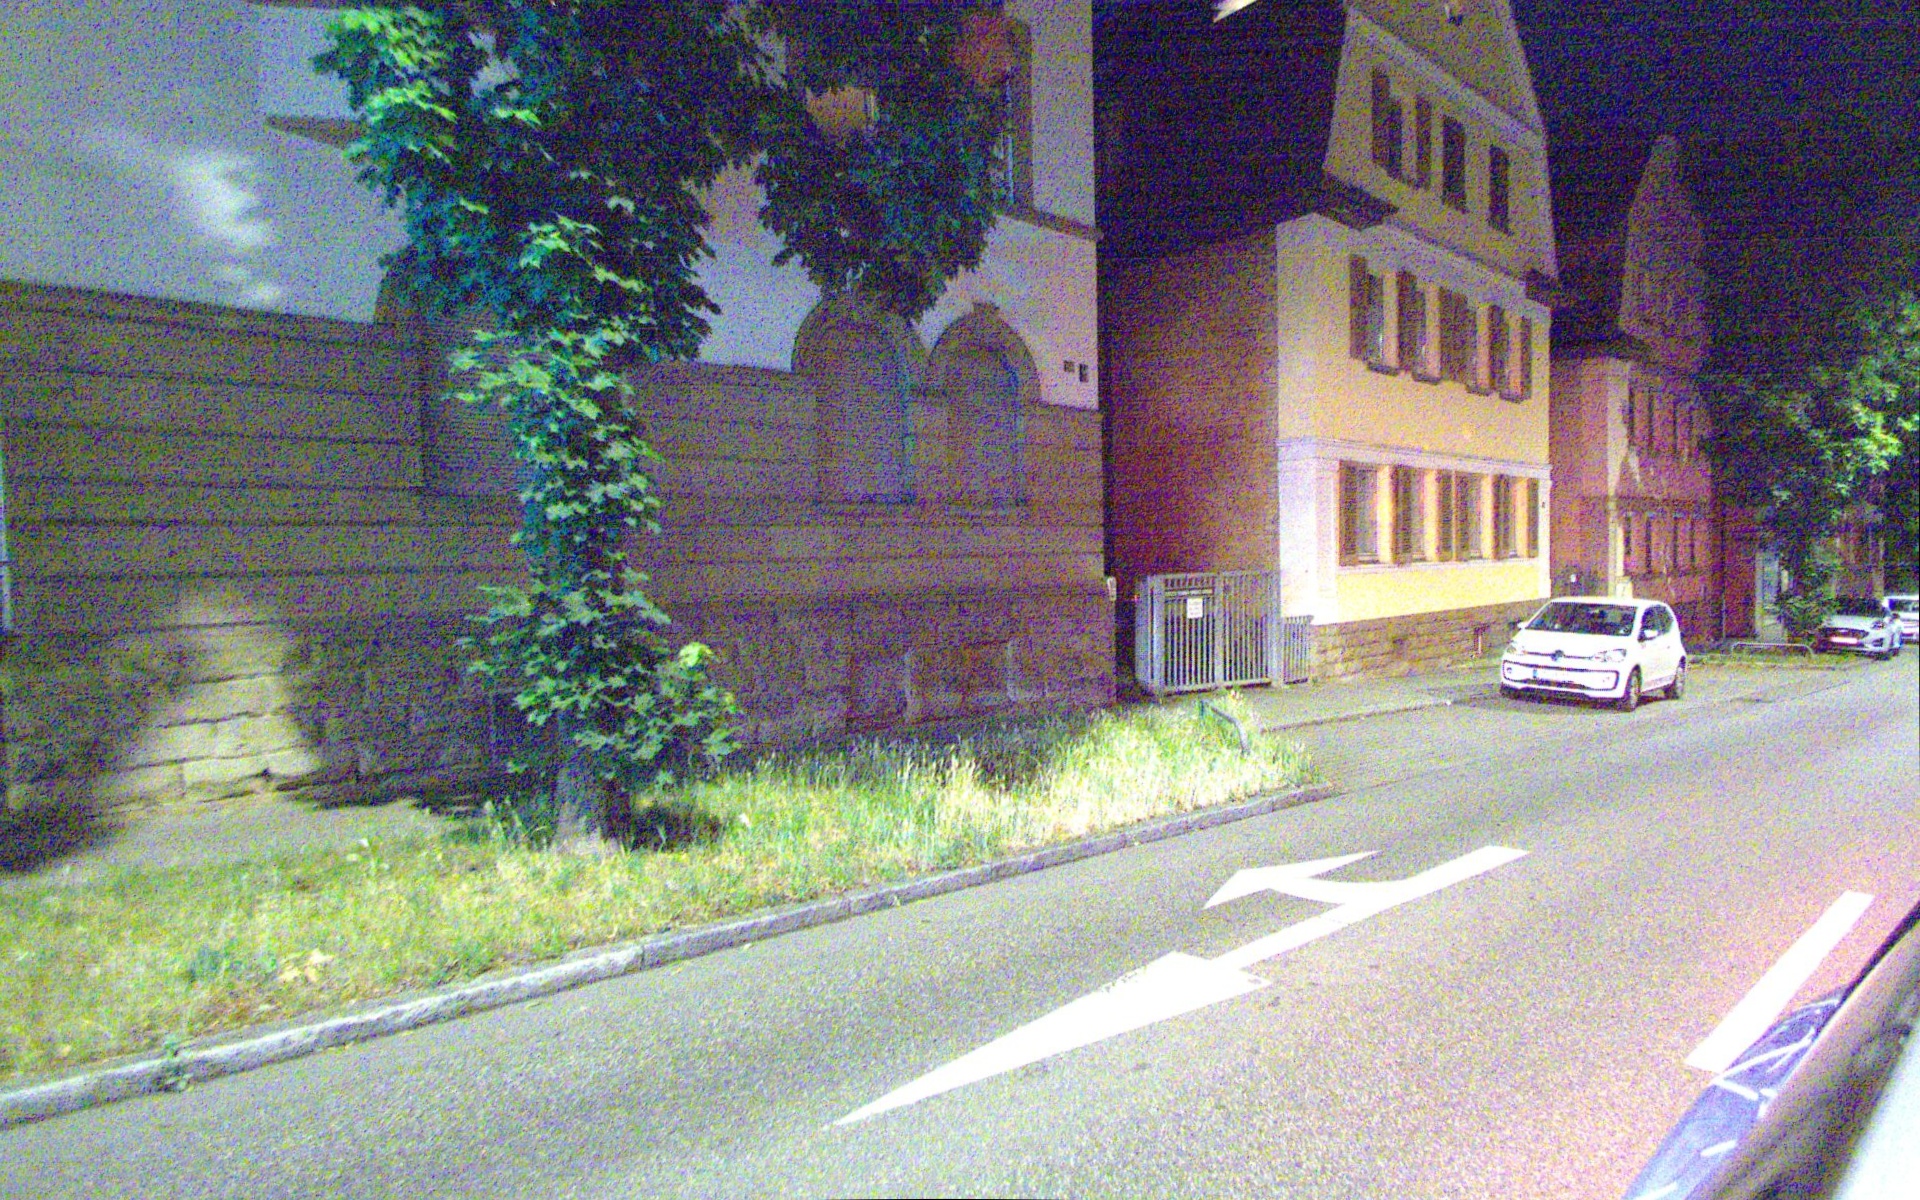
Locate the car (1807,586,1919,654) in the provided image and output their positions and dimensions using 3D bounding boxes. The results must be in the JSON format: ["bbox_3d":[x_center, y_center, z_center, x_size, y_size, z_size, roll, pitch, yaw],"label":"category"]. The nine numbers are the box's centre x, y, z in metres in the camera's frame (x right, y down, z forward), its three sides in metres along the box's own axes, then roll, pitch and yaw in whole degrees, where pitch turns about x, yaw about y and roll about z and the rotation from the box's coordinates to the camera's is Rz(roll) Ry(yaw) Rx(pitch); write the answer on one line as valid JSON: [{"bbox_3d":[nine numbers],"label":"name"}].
[{"bbox_3d":[23.804,0.472,26.578,3.977,1.572,1.862,0,3,-43],"label":"car"}]

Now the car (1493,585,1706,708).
[{"bbox_3d":[9.321,0.578,14.657,3.541,1.503,1.671,0,2,-42],"label":"car"}]

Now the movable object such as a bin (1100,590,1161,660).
[{"bbox_3d":[2.666,0.374,15.836,0.742,1.062,0.608,0,0,-41],"label":"movable object such as a bin"}]

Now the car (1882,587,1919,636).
[{"bbox_3d":[33.787,0.392,35.348,4.281,1.616,1.742,0,3,-40],"label":"car"}]

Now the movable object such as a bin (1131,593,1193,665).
[{"bbox_3d":[3.064,0.419,15.339,0.742,1.062,0.608,0,0,-41],"label":"movable object such as a bin"}]
